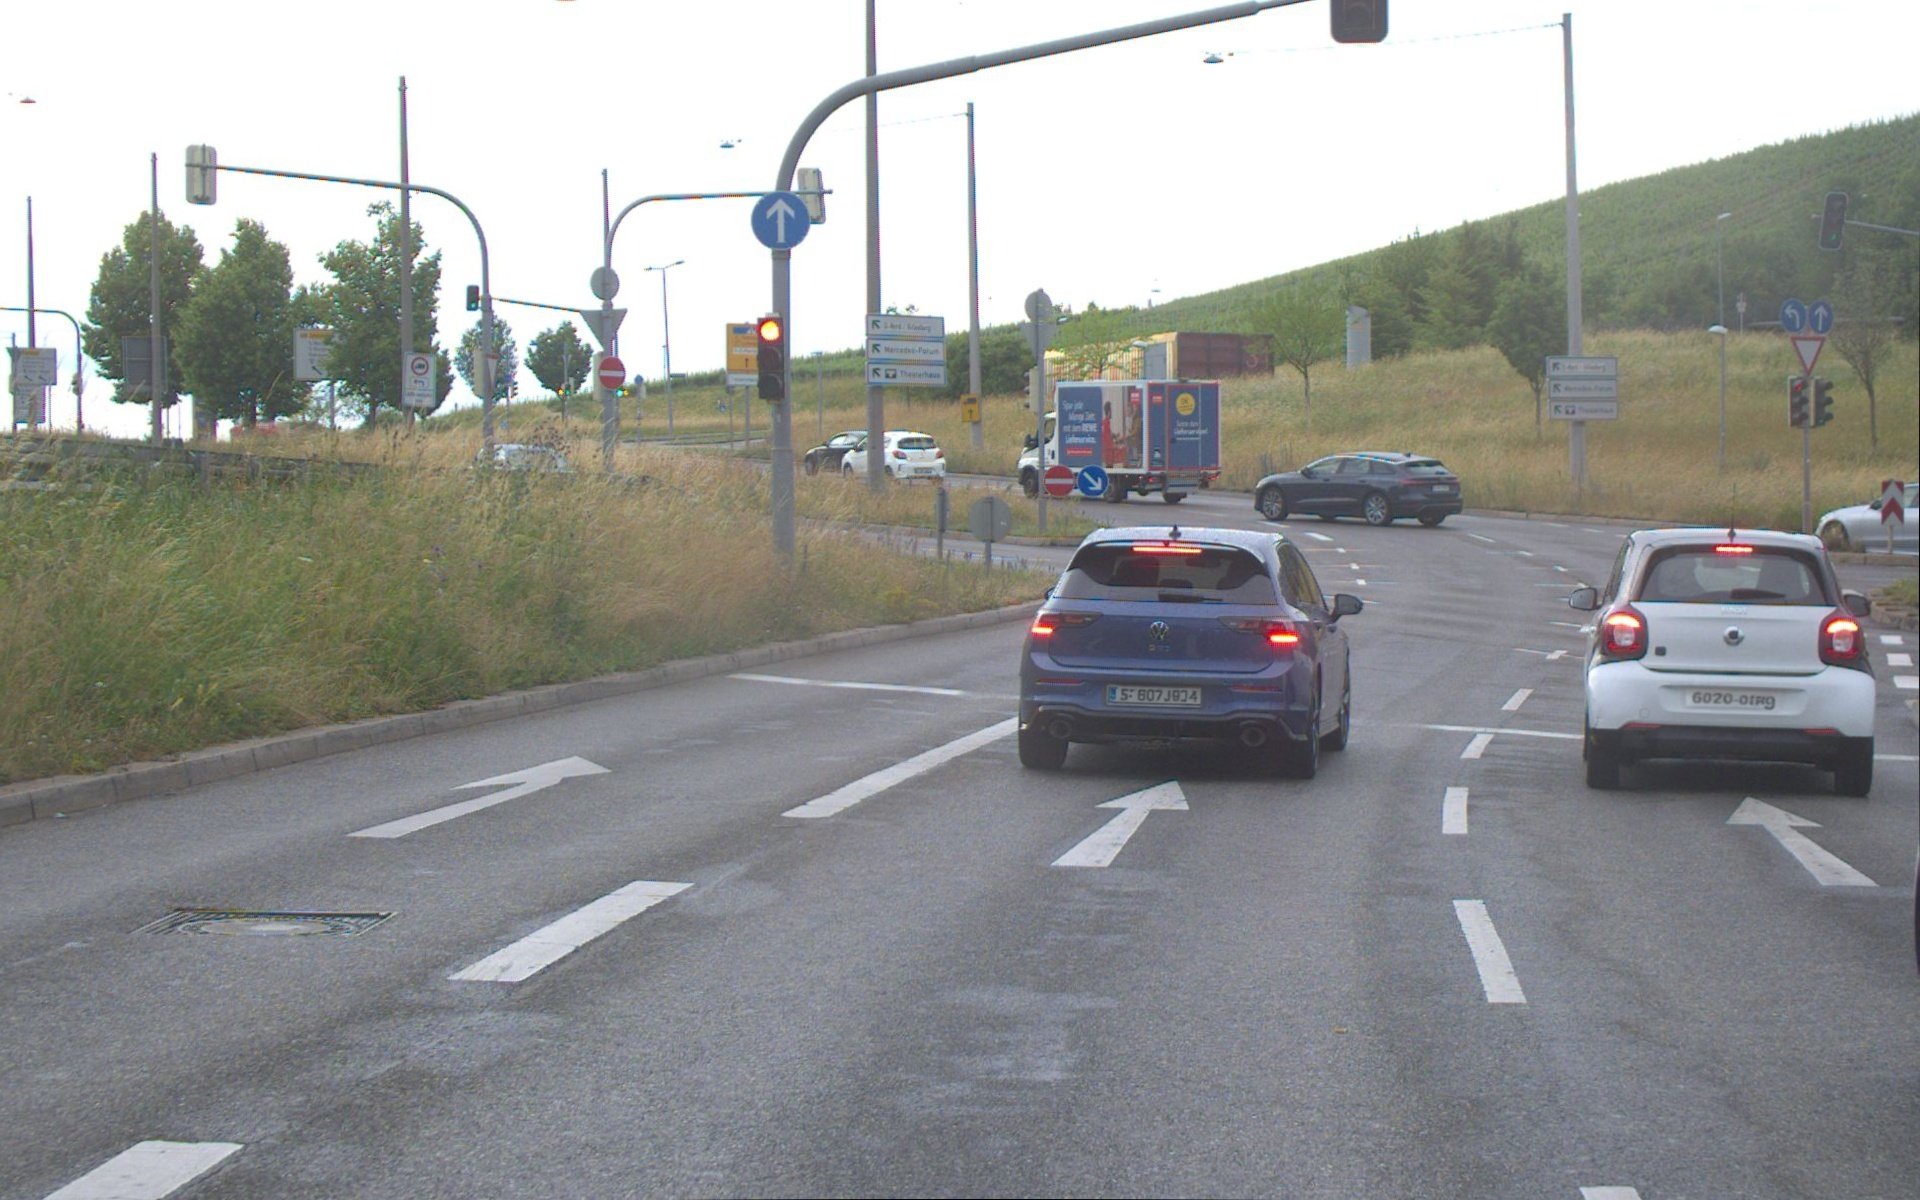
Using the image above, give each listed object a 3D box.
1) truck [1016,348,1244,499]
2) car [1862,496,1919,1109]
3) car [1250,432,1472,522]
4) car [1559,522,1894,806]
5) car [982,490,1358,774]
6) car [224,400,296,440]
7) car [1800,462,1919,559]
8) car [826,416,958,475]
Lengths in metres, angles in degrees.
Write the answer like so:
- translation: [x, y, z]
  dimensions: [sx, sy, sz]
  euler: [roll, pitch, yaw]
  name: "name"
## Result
- translation: [4.097, -4.381, 84.081]
  dimensions: [2.848, 3.514, 6.237]
  euler: [-2, 5, -27]
  name: "truck"
- translation: [3.429, 0.589, 7.358]
  dimensions: [1.996, 1.573, 4.125]
  euler: [2, 1, 2]
  name: "car"
- translation: [8.421, -2.621, 72.604]
  dimensions: [1.994, 1.705, 4.562]
  euler: [-4, 6, -39]
  name: "car"
- translation: [4.635, 0.312, 21.067]
  dimensions: [1.775, 1.514, 3.723]
  euler: [2, 2, 11]
  name: "car"
- translation: [1.408, 0.156, 21.440]
  dimensions: [1.927, 1.594, 4.060]
  euler: [0, 1, 9]
  name: "car"
- translation: [-32.647, -8.379, 160.183]
  dimensions: [1.993, 1.706, 4.564]
  euler: [-3, 3, -28]
  name: "car"
- translation: [16.938, -1.541, 59.530]
  dimensions: [1.993, 1.599, 4.564]
  euler: [-1, 3, -30]
  name: "car"
- translation: [-1.921, -4.334, 96.018]
  dimensions: [1.993, 1.495, 4.565]
  euler: [-2, 5, -25]
  name: "car"
